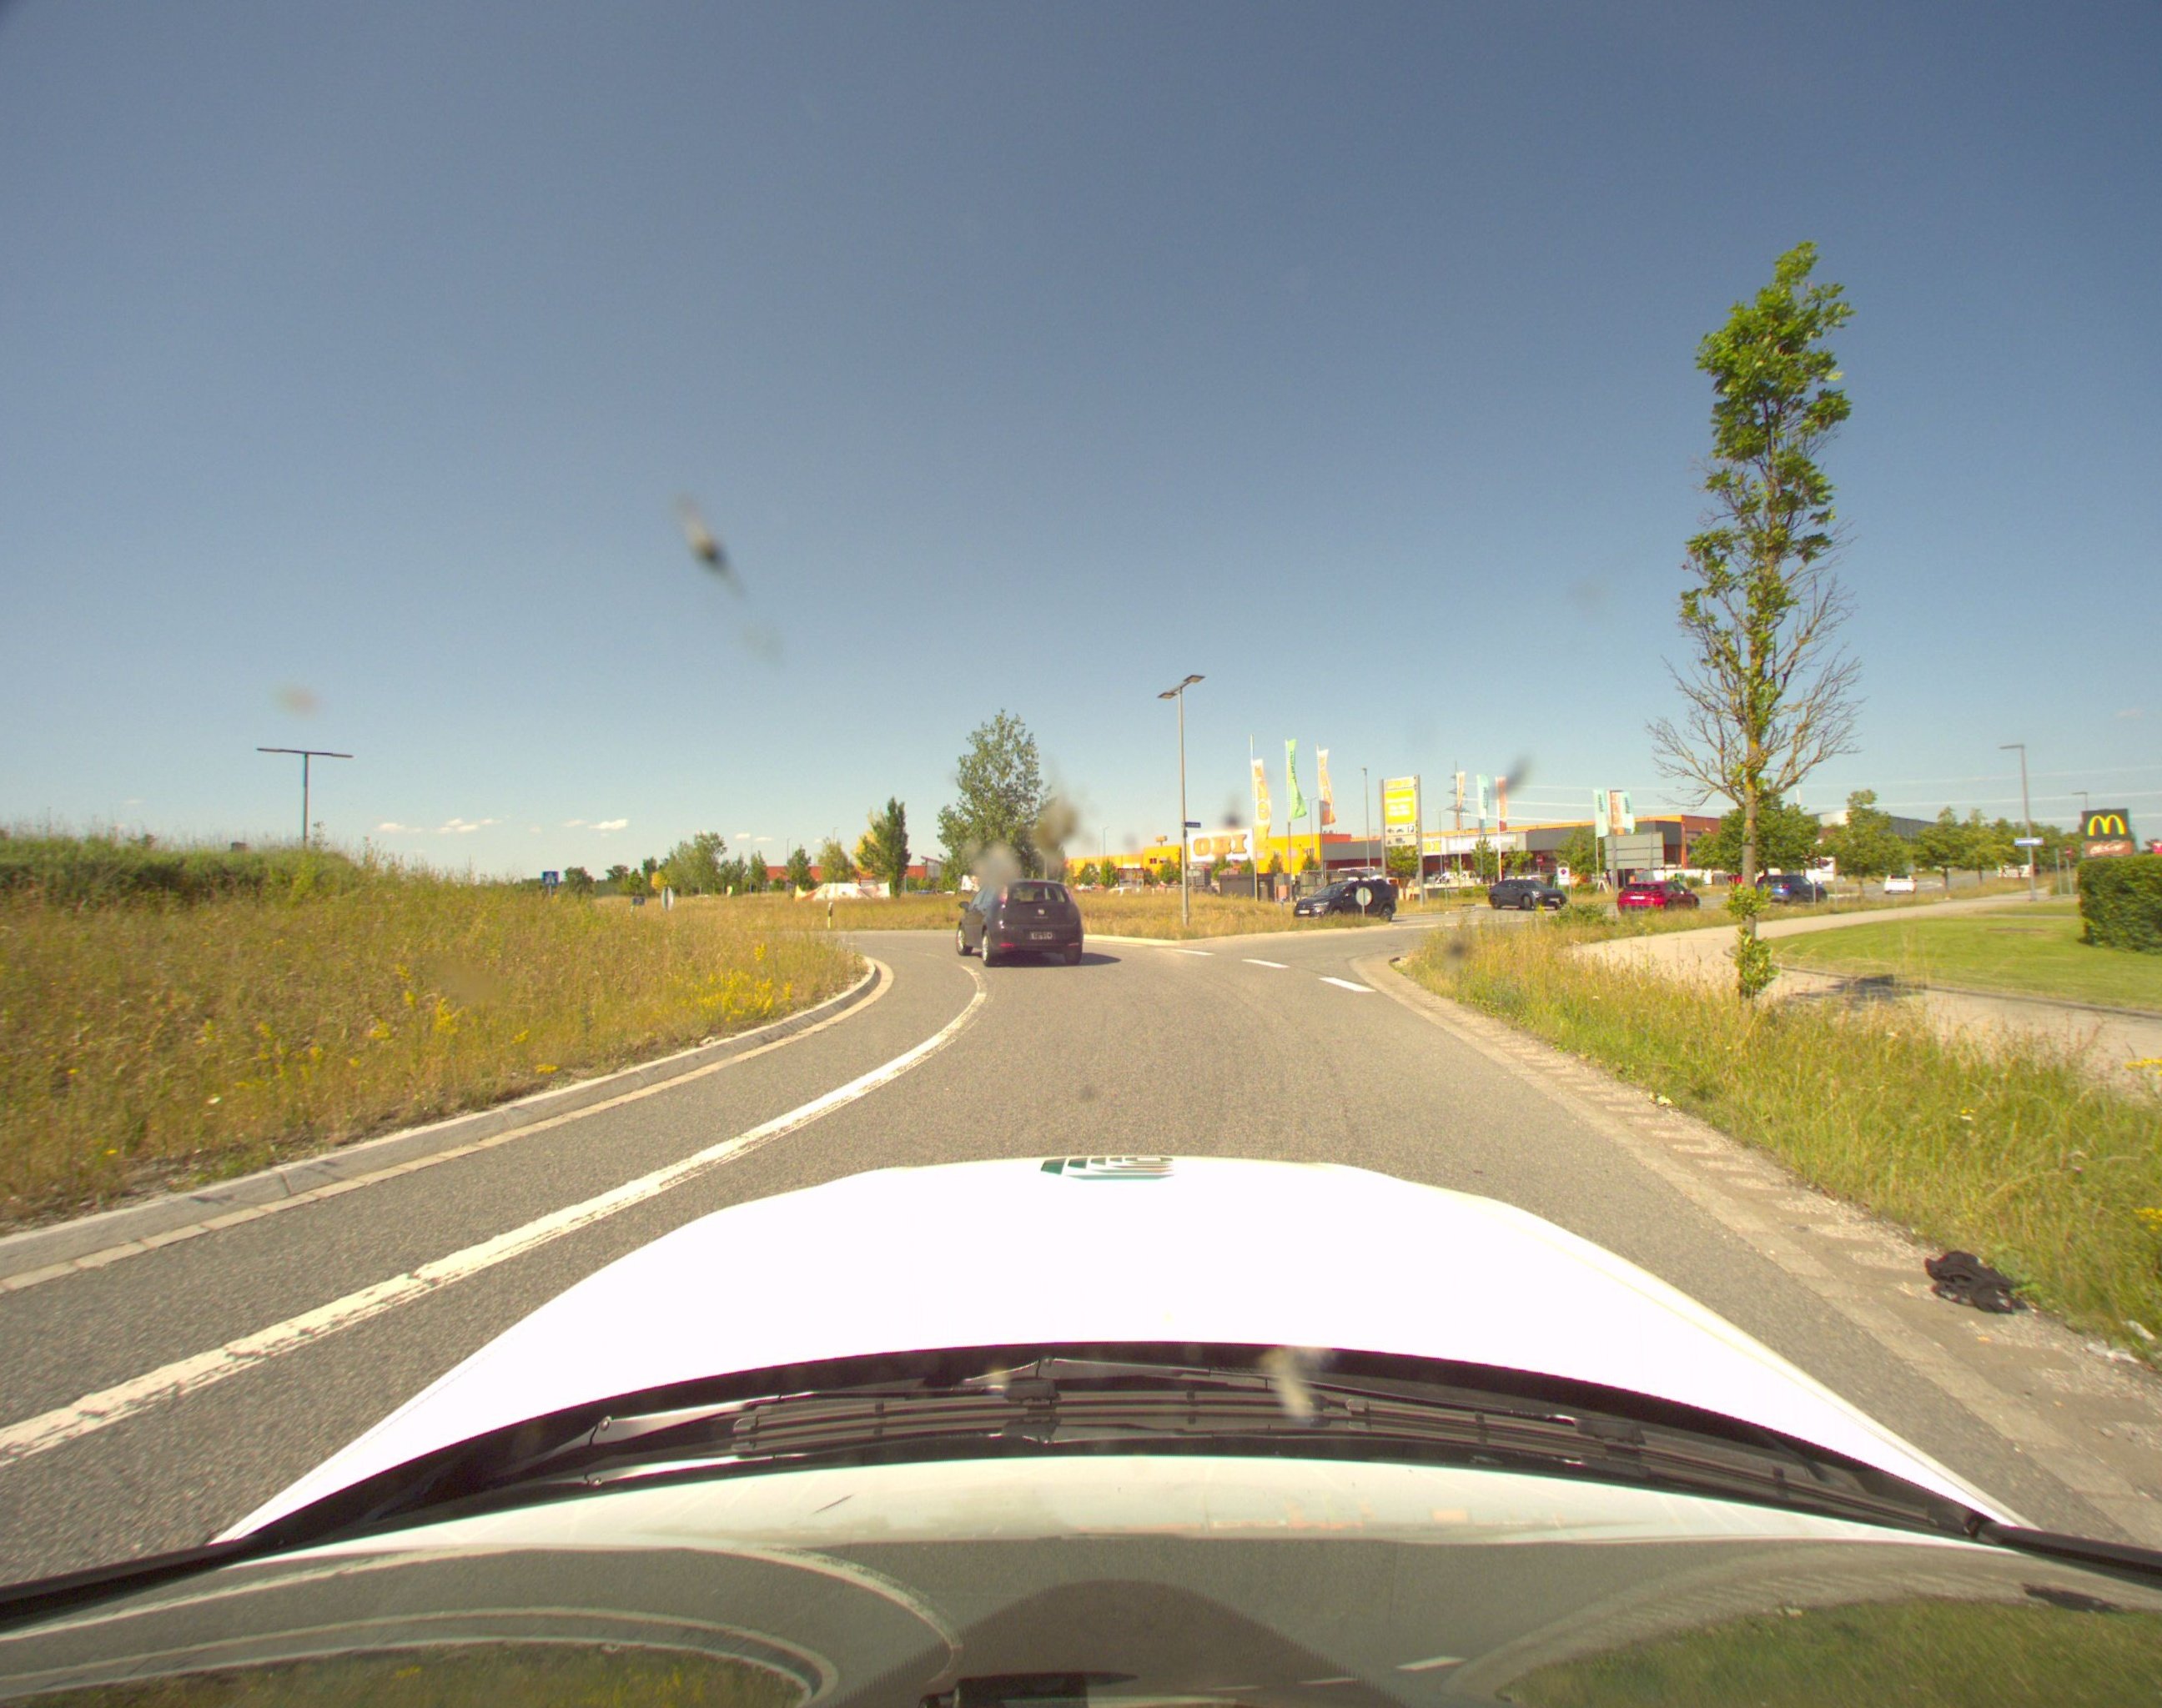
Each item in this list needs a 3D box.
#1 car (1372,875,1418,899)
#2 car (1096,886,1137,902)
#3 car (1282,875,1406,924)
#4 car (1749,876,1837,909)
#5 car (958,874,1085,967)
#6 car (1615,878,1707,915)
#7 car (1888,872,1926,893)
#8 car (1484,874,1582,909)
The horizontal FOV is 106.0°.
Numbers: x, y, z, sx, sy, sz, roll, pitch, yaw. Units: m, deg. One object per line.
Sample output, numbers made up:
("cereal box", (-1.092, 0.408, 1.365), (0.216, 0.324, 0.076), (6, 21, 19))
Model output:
("car", (24.809, 2.622, 64.344), (3.791, 1.842, 1.681), (3, -4, -37))
("car", (3.746, 4.193, 85.973), (3.949, 1.618, 2.012), (-4, -3, 42))
("car", (10.097, 1.710, 31.144), (4.644, 1.706, 1.937), (0, -4, -33))
("car", (36.338, 1.937, 41.587), (4.086, 1.636, 1.842), (1, -2, -25))
("car", (-1.227, 1.154, 15.182), (1.642, 1.488, 3.883), (1, -3, -15))
("car", (24.207, 1.719, 33.948), (4.134, 1.416, 1.789), (0, -2, -34))
("car", (60.453, 2.080, 59.577), (3.366, 1.441, 1.497), (0, -3, -38))
("car", (23.060, 1.942, 41.827), (2.069, 1.627, 4.687), (-2, -3, -5))
